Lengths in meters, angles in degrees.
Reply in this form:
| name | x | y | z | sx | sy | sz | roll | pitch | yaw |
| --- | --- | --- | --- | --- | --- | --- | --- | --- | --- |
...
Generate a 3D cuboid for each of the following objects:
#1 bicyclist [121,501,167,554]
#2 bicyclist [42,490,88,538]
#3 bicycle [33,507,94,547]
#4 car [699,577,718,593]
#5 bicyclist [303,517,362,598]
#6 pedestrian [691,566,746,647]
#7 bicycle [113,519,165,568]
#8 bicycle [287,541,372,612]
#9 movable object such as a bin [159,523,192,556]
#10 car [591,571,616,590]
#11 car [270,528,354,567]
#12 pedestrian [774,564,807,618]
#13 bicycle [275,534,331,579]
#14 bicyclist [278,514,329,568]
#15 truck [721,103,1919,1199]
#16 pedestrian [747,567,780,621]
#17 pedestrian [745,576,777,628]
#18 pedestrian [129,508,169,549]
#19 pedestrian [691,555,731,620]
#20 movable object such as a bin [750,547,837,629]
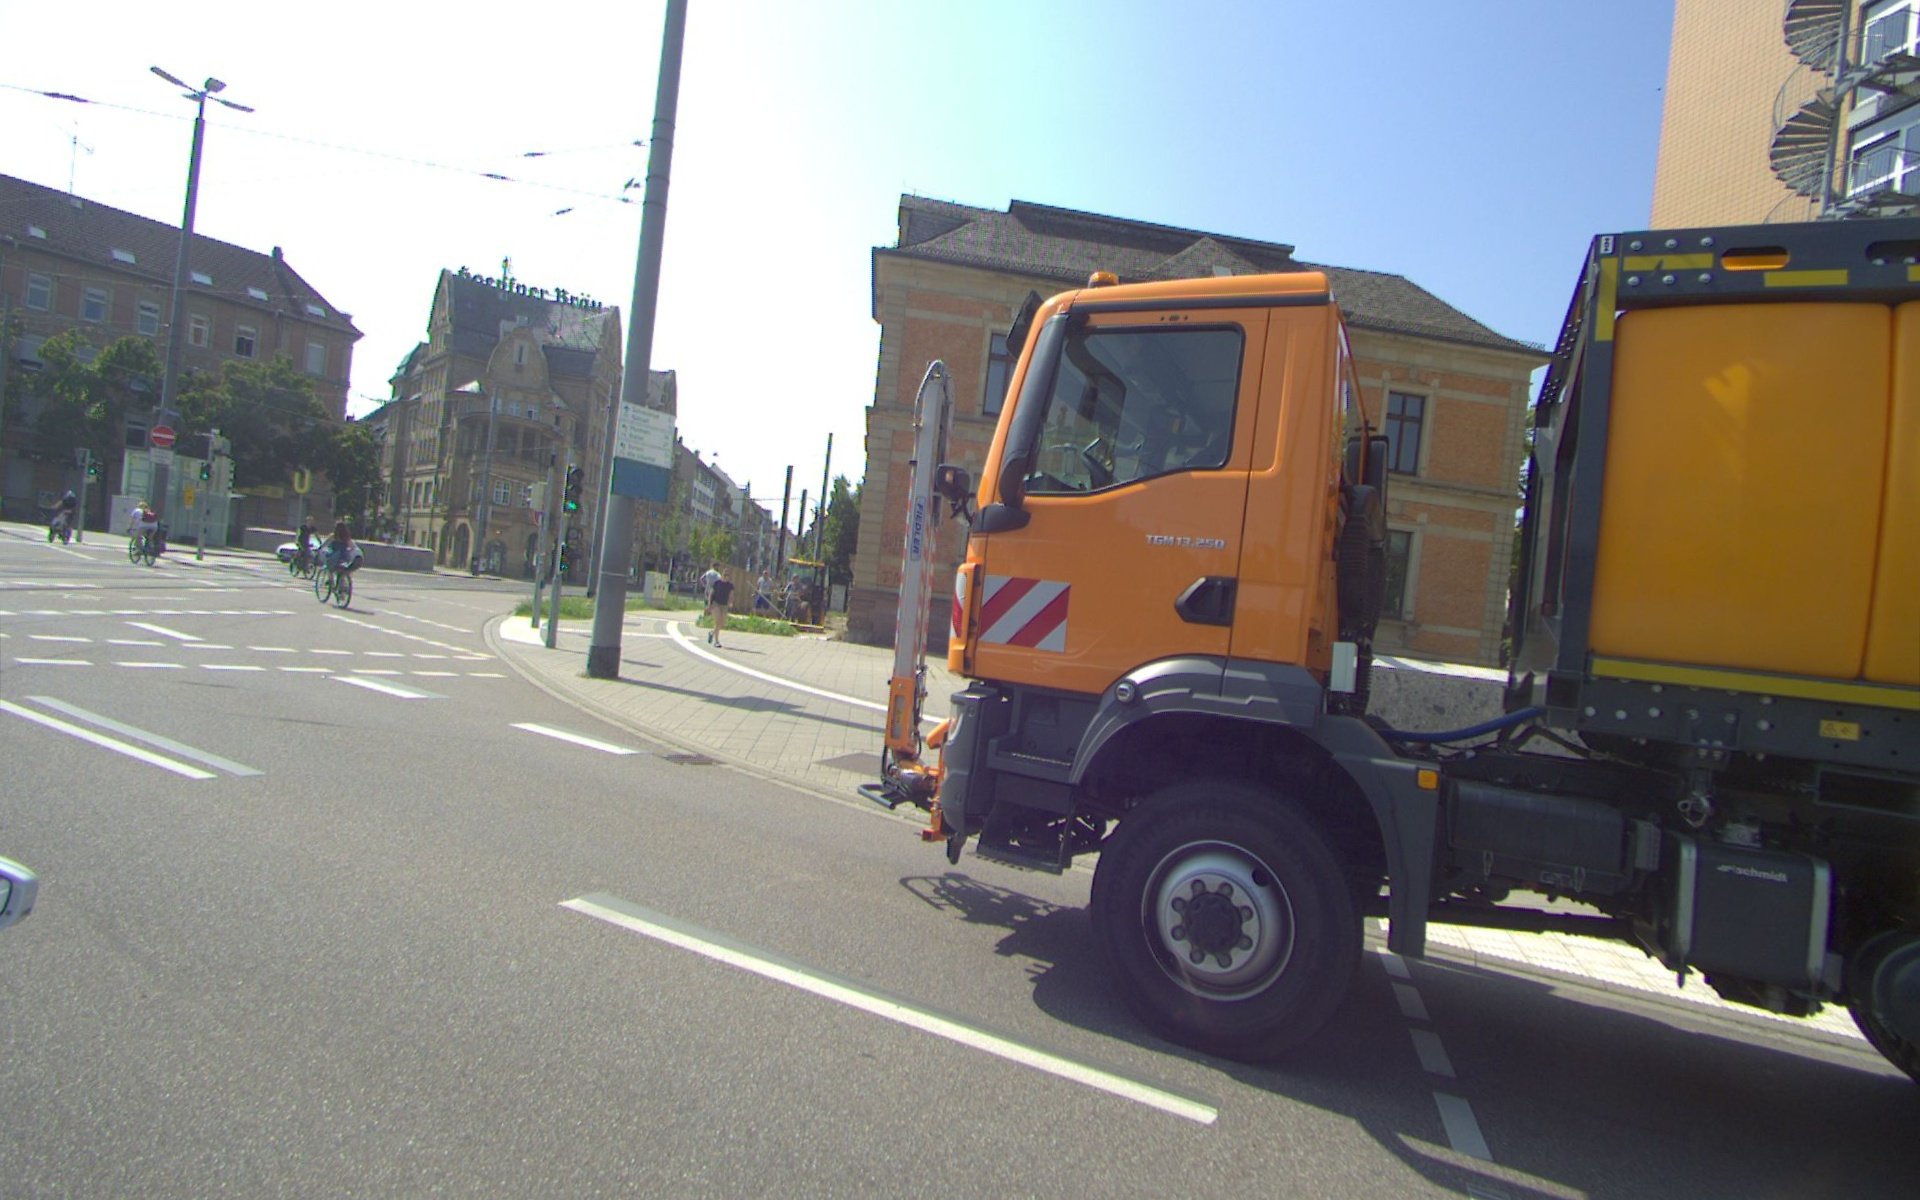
| name | x | y | z | sx | sy | sz | roll | pitch | yaw |
| --- | --- | --- | --- | --- | --- | --- | --- | --- | --- |
| bicyclist | -21.156 | -1.875 | 26.089 | 0.633 | 1.269 | 0.657 | 7 | 0 | 30 |
| bicyclist | -27.799 | -2.664 | 31.247 | 0.906 | 1.336 | 0.748 | 7 | 0 | 30 |
| bicycle | -27.861 | -2.270 | 31.256 | 2.335 | 1.010 | 0.645 | 7 | 0 | 30 |
| car | -37.775 | -2.286 | 151.356 | 1.964 | 2.038 | 3.997 | 7 | 0 | -4 |
| bicyclist | -12.604 | -0.849 | 20.202 | 0.633 | 1.499 | 0.657 | 7 | 1 | 30 |
| pedestrian | -5.143 | 0.136 | 21.360 | 0.784 | 1.629 | 0.942 | 5 | 1 | -30 |
| bicycle | -21.344 | -1.479 | 26.146 | 1.615 | 1.125 | 0.440 | 7 | 1 | 30 |
| bicycle | -12.720 | -0.481 | 20.271 | 2.092 | 1.125 | 0.440 | 10 | 2 | 30 |
| movable object such as a bin | -29.004 | -2.239 | 37.203 | 0.815 | 1.097 | 1.026 | 8 | -2 | -41 |
| car | -32.674 | -1.739 | 92.352 | 1.351 | 1.414 | 3.255 | 7 | -2 | -7 |
| car | -30.179 | -2.405 | 46.974 | 1.559 | 1.303 | 3.728 | 7 | -2 | -3 |
| pedestrian | -5.655 | -0.305 | 33.587 | 0.678 | 1.693 | 0.679 | 6 | 1 | -36 |
| bicycle | -19.329 | -1.293 | 29.580 | 1.924 | 1.139 | 0.471 | 6 | -1 | 30 |
| bicyclist | -19.319 | -1.737 | 29.602 | 0.915 | 1.439 | 0.802 | 6 | -2 | 31 |
| truck | 2.905 | 0.244 | 4.503 | 7.062 | 3.267 | 3.042 | 7 | -1 | 25 |
| pedestrian | -6.575 | -0.212 | 33.611 | 0.678 | 1.693 | 0.679 | 6 | 1 | -36 |
| pedestrian | -6.886 | 0.076 | 34.806 | 0.678 | 1.693 | 0.679 | 6 | 1 | -36 |
| pedestrian | -30.142 | -2.667 | 37.412 | 0.801 | 1.368 | 0.720 | 7 | 0 | 15 |
| pedestrian | -7.486 | -0.368 | 30.227 | 0.678 | 1.836 | 1.029 | 6 | 1 | -36 |
| movable object such as a bin | -6.169 | -0.377 | 37.834 | 1.783 | 2.704 | 4.458 | 7 | 0 | 7 |
